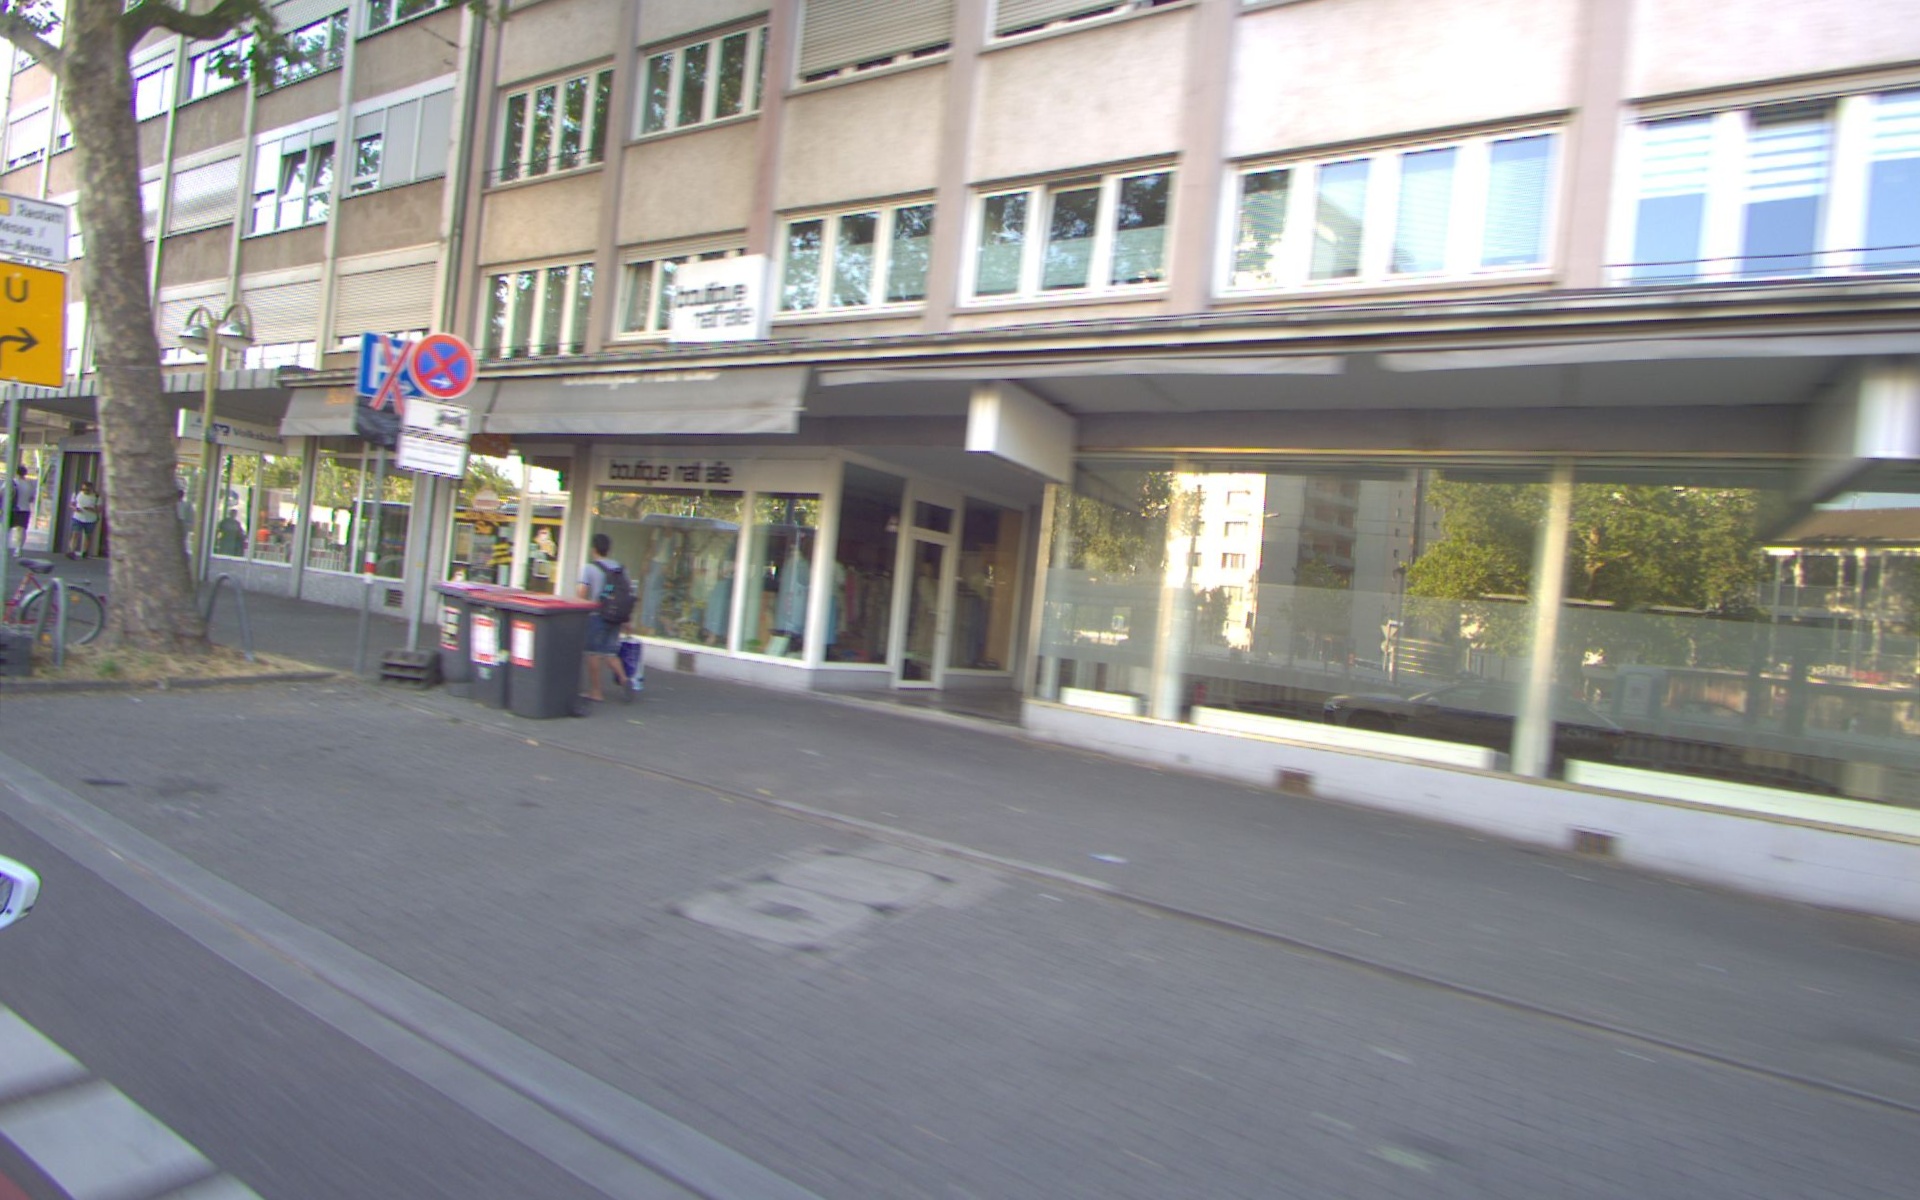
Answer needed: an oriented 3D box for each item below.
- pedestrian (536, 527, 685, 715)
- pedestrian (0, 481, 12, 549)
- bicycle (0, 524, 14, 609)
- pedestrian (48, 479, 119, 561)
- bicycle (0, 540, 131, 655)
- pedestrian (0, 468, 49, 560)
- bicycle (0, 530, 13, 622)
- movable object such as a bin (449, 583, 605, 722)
[{"bbox_3d":[-3.452,0.198,9.962,0.973,1.695,0.844,7,2,30],"label":"pedestrian"},{"bbox_3d":[-22.972,-2.040,23.738,0.761,1.595,0.633,7,3,30],"label":"pedestrian"},{"bbox_3d":[-13.083,-0.497,12.332,0.757,1.072,1.990,6,1,28],"label":"bicycle"},{"bbox_3d":[-19.313,-1.752,22.177,1.053,1.722,0.898,7,6,31],"label":"pedestrian"},{"bbox_3d":[-9.088,-0.033,9.503,0.633,1.035,1.791,7,1,28],"label":"bicycle"},{"bbox_3d":[-20.386,-1.867,21.671,1.081,1.896,0.837,7,5,30],"label":"pedestrian"},{"bbox_3d":[-12.028,-0.349,11.422,0.633,1.072,1.714,7,1,32],"label":"bicycle"},{"bbox_3d":[-3.944,0.450,9.160,1.207,1.090,0.674,6,3,31],"label":"movable object such as a bin"}]
